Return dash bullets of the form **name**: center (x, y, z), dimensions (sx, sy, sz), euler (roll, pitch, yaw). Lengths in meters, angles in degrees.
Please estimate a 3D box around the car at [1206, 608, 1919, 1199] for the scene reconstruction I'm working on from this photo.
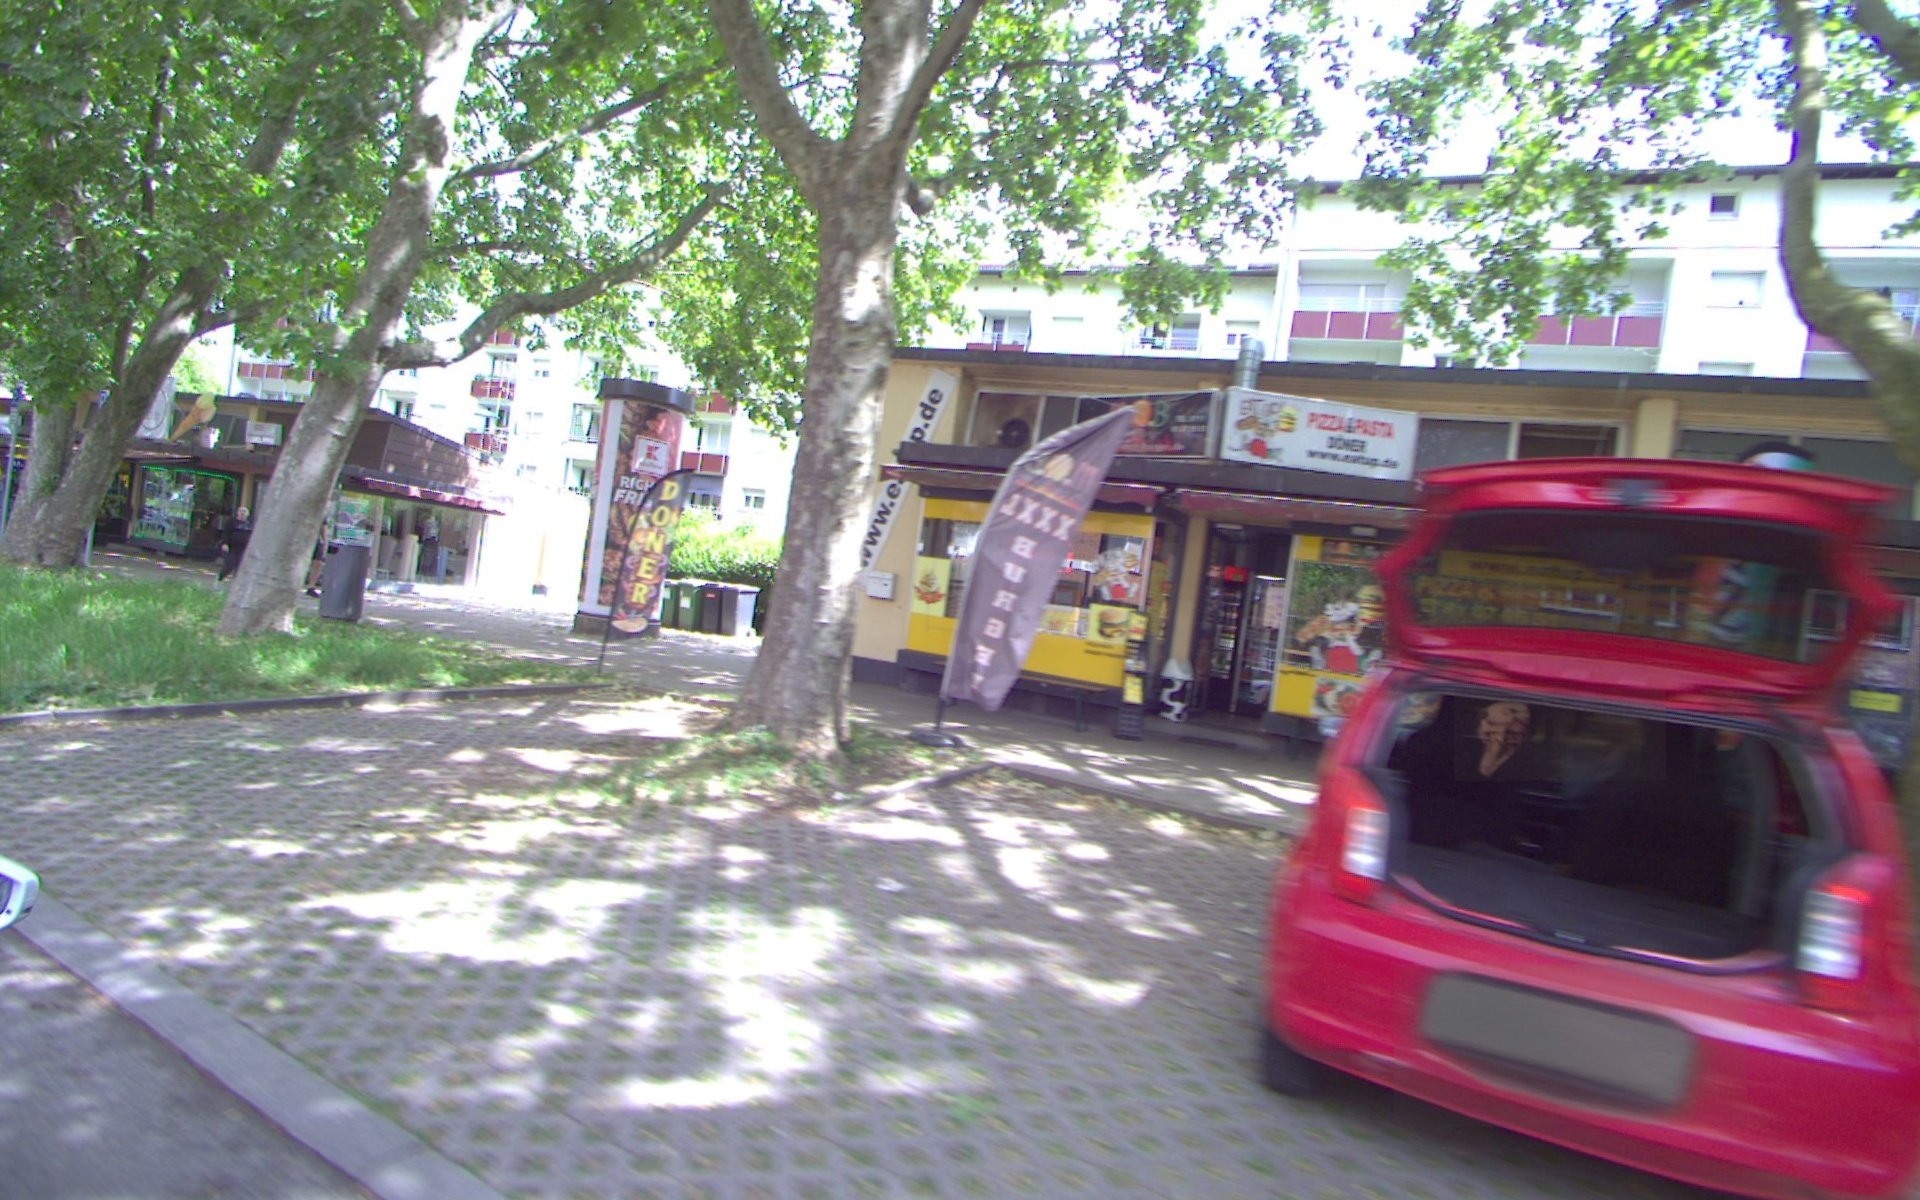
- **car**: center (2.263, 0.909, 3.979), dimensions (1.582, 1.535, 3.410), euler (7, 2, 28)

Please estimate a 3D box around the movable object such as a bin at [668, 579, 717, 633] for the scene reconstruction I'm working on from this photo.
- **movable object such as a bin**: center (-5.645, 0.125, 21.248), dimensions (0.636, 1.046, 0.625), euler (7, 1, 28)

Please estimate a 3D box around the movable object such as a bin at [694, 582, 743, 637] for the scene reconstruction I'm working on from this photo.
- **movable object such as a bin**: center (-5.032, 0.200, 20.947), dimensions (0.636, 1.046, 0.625), euler (7, 1, 28)

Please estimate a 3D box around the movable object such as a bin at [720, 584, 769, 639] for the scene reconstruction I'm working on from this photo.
- **movable object such as a bin**: center (-4.419, 0.238, 20.629), dimensions (0.636, 1.046, 0.625), euler (7, 1, 28)

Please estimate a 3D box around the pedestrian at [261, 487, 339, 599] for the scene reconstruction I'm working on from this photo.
- **pedestrian**: center (-11.938, -1.021, 18.203), dimensions (0.926, 1.908, 0.744), euler (6, 2, 32)

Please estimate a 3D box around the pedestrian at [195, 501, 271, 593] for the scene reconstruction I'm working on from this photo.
- **pedestrian**: center (-12.747, -0.933, 17.631), dimensions (1.012, 1.465, 0.626), euler (7, 0, 32)
